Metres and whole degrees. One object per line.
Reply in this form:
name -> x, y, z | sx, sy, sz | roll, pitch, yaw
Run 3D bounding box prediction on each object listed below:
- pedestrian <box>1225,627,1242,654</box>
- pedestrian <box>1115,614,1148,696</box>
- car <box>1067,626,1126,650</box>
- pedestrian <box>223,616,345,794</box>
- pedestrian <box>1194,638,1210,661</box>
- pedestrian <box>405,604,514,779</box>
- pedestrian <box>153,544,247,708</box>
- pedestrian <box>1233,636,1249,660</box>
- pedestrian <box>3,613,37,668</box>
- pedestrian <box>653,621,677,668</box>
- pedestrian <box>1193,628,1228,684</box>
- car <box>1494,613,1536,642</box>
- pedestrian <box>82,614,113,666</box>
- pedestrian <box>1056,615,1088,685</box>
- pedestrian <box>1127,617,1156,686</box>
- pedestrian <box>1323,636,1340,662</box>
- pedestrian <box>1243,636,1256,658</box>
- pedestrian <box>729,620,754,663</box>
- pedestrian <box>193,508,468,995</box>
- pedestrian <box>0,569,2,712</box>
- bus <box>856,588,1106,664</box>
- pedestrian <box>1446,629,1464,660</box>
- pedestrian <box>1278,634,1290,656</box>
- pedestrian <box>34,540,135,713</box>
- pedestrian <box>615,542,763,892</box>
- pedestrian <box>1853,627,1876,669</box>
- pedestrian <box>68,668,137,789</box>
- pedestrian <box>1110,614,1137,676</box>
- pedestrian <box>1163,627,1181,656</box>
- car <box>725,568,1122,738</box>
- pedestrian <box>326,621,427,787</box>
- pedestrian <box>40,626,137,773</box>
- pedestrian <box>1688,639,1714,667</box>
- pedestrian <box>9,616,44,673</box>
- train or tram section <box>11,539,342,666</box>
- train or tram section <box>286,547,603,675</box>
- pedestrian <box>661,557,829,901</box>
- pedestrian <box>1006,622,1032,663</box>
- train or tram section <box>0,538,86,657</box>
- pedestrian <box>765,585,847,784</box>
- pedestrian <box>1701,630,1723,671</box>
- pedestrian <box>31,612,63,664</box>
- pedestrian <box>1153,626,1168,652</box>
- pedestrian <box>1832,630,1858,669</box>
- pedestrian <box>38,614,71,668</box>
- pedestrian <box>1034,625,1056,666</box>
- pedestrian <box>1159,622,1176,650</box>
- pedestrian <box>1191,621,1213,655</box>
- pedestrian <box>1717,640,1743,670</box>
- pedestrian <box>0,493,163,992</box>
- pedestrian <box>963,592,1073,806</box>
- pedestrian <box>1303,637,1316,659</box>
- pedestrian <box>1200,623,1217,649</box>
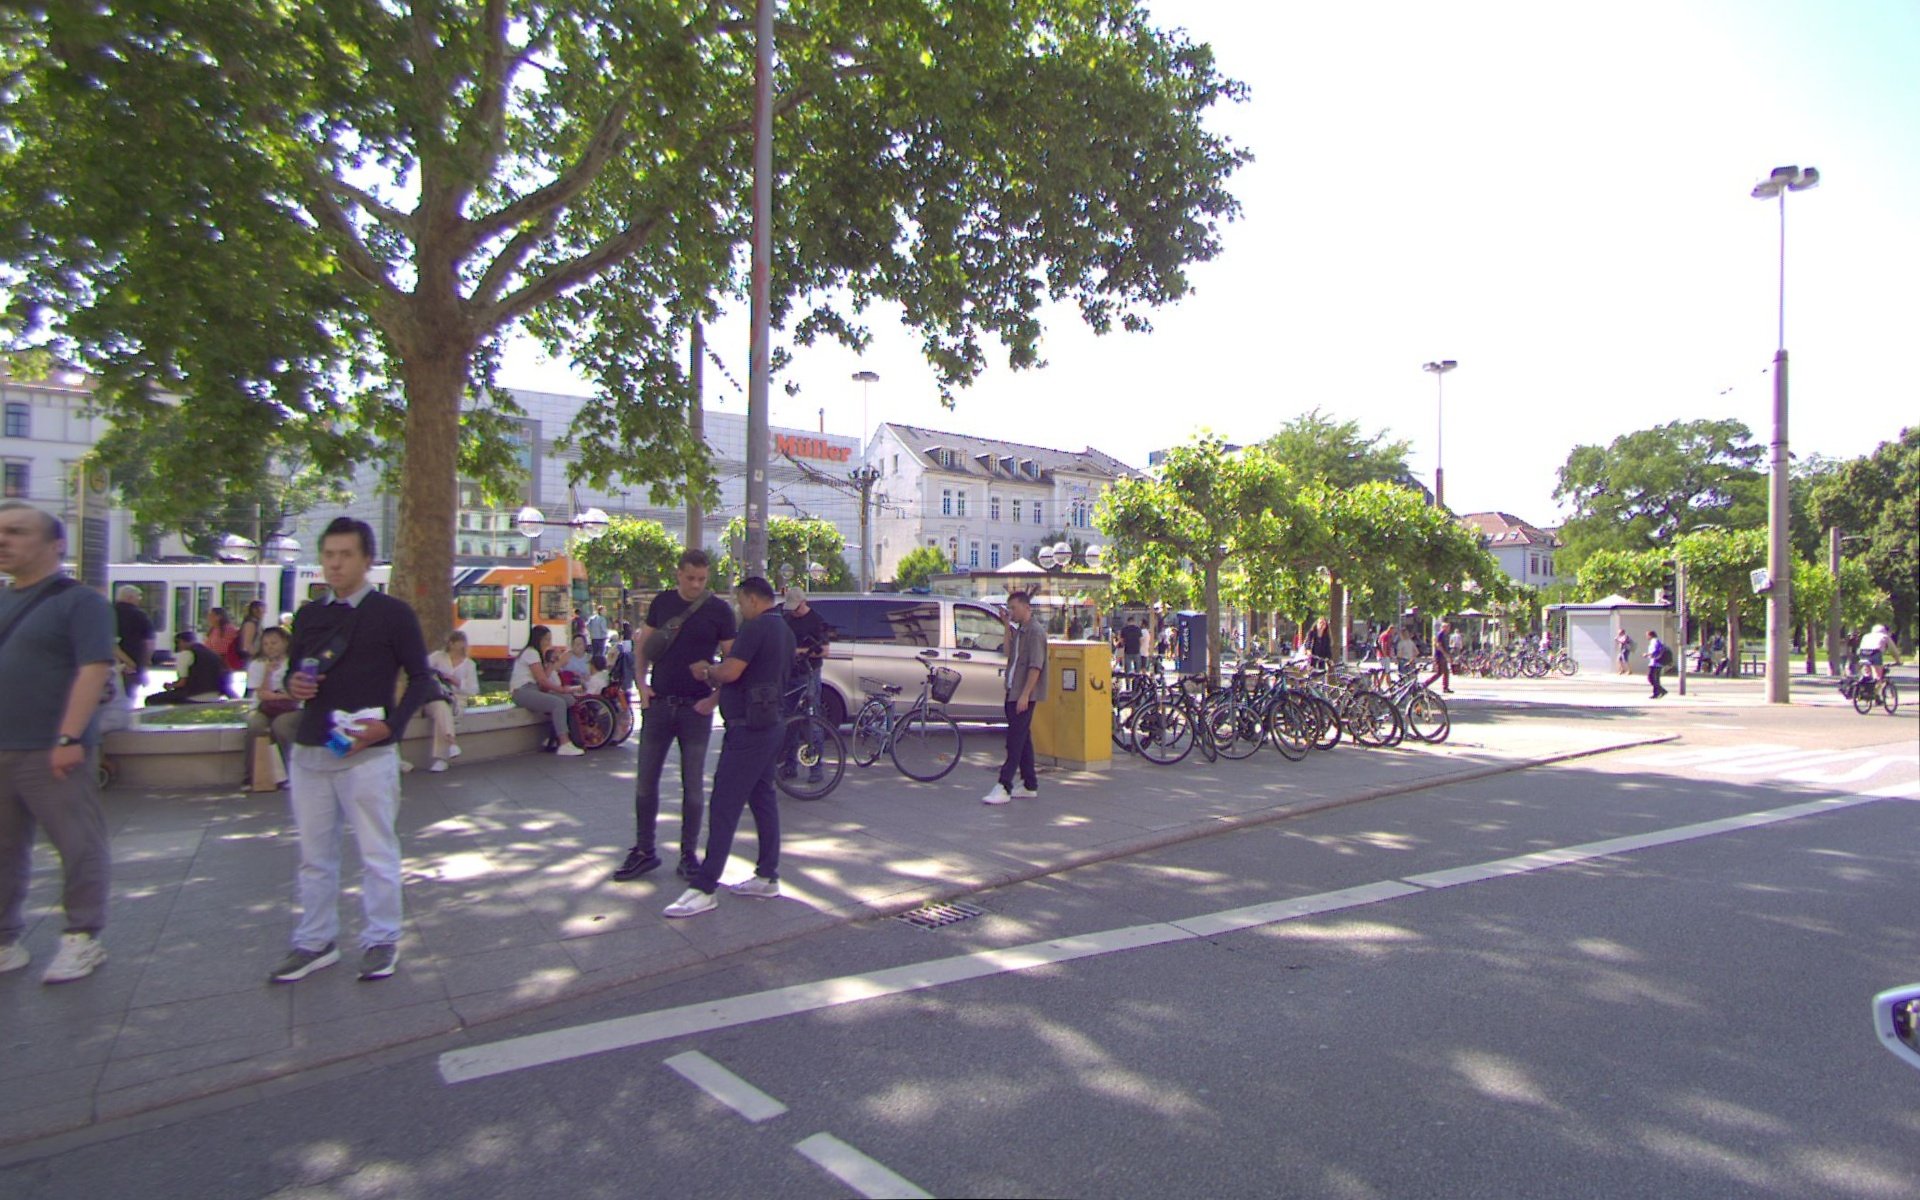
pedestrian -> 15.665, 2.317, 57.555 | 0.672, 1.484, 0.621 | 0, -3, -27
pedestrian -> 3.926, 1.255, 22.987 | 0.612, 1.817, 0.681 | -2, -3, 17
car -> 9.373, 2.615, 68.820 | 3.964, 1.528, 1.742 | 1, 0, -38
pedestrian -> -5.864, 0.867, 8.712 | 0.777, 1.426, 0.743 | 1, 1, -41
pedestrian -> 13.428, 2.747, 55.679 | 0.573, 1.279, 0.620 | 0, -3, -22
pedestrian -> -4.943, 0.862, 9.913 | 0.777, 1.618, 0.743 | 1, 1, -41
pedestrian -> -8.638, 0.282, 11.414 | 0.777, 1.770, 0.743 | 1, 1, -41
pedestrian -> 15.551, 2.652, 55.603 | 0.573, 1.279, 0.620 | 0, -3, -22
pedestrian -> -26.566, 1.137, 28.393 | 0.549, 1.492, 0.751 | 1, 1, -31
pedestrian -> -10.156, 1.539, 34.562 | 0.667, 1.569, 0.578 | -1, -3, -5
pedestrian -> 7.056, 1.587, 28.327 | 0.673, 1.544, 0.620 | 0, -3, -31
car -> 67.909, 3.351, 122.975 | 5.361, 3.360, 2.114 | 1, 1, -32
pedestrian -> -25.385, 1.163, 29.573 | 0.549, 1.492, 0.751 | 1, 1, -31
pedestrian -> 2.992, 1.335, 26.817 | 0.599, 1.839, 0.573 | 0, -3, -32
pedestrian -> 4.644, 1.305, 25.668 | 0.503, 1.741, 0.479 | 0, -3, -31
pedestrian -> 22.062, 2.921, 59.637 | 0.671, 1.484, 0.621 | 3, -2, -26
pedestrian -> 16.789, 2.728, 58.324 | 0.447, 1.279, 0.515 | 0, -3, -27
pedestrian -> -8.023, 1.530, 36.889 | 0.569, 1.569, 0.678 | -3, -3, 35
pedestrian -> -2.508, 0.567, 4.052 | 0.728, 1.807, 0.538 | 2, 1, 3
pedestrian -> -8.004, 0.633, 7.601 | 0.768, 1.770, 0.751 | 2, 1, -5
bus -> 1.040, 1.327, 50.933 | 12.244, 3.465, 3.059 | 2, 0, -13
pedestrian -> 24.275, 2.189, 49.266 | 0.667, 1.484, 0.625 | -2, -3, 22
pedestrian -> 19.056, 2.636, 59.110 | 0.445, 1.279, 0.517 | -1, -3, -15
pedestrian -> -9.423, 0.271, 10.831 | 0.777, 1.770, 0.743 | 1, 1, -41
pedestrian -> -1.548, 0.625, 5.702 | 0.706, 1.860, 0.515 | 1, 1, -24
pedestrian -> 37.829, 2.007, 42.024 | 0.517, 1.756, 0.587 | -3, -3, 29
pedestrian -> -7.262, 1.078, 8.512 | 0.276, 0.980, 0.340 | 2, 1, -1
pedestrian -> 5.449, 1.504, 33.518 | 0.560, 2.034, 0.685 | 2, -1, -40
pedestrian -> 11.127, 2.186, 52.746 | 0.673, 1.484, 0.619 | 0, -3, -34
car -> -0.542, 0.691, 13.599 | 4.976, 2.040, 1.996 | 2, 0, -10
pedestrian -> -5.478, 0.936, 9.418 | 0.669, 1.443, 0.743 | 1, 1, -41
pedestrian -> -8.030, 0.887, 9.254 | 0.663, 1.258, 0.611 | 2, 1, 45
pedestrian -> 32.758, 2.339, 44.402 | 0.746, 1.186, 0.670 | 1, -3, -38
pedestrian -> -25.485, 1.200, 27.426 | 0.549, 1.492, 0.751 | 1, 1, -31
train or tram section -> -26.493, 0.062, 34.211 | 9.329, 3.878, 2.622 | 2, 1, 2
train or tram section -> -17.208, 0.347, 33.846 | 9.329, 3.878, 2.622 | 2, 1, 2
pedestrian -> -1.090, 0.637, 5.218 | 0.738, 1.670, 0.631 | 2, 1, -5
pedestrian -> 2.145, 1.559, 36.729 | 0.671, 1.484, 0.621 | -4, -4, 43
train or tram section -> -35.791, -0.223, 34.518 | 9.329, 3.878, 2.622 | 2, 1, 2
pedestrian -> -1.435, 0.758, 9.339 | 0.516, 1.766, 0.509 | 1, 1, -44
pedestrian -> 31.019, 2.082, 41.434 | 0.566, 1.630, 0.602 | -3, -3, 30
pedestrian -> -26.956, 1.119, 29.656 | 0.549, 1.492, 0.751 | 1, 1, -31
pedestrian -> 11.650, 2.279, 58.290 | 0.621, 1.484, 0.577 | 1, -4, -44
pedestrian -> 37.530, 2.102, 42.595 | 0.617, 1.630, 0.524 | 0, -3, -22
pedestrian -> -25.813, 1.159, 28.651 | 0.549, 1.492, 0.751 | 1, 1, -31
pedestrian -> 3.111, 1.665, 36.669 | 0.518, 1.484, 0.586 | -3, -3, 39
pedestrian -> 11.407, 1.973, 55.245 | 0.674, 1.484, 0.618 | 1, -3, -38
pedestrian -> 10.686, 1.670, 44.388 | 0.616, 1.484, 0.676 | 0, -3, -25
pedestrian -> 33.086, 2.363, 43.133 | 0.746, 1.263, 0.670 | 1, -3, -38
pedestrian -> -3.736, 0.540, 4.043 | 0.730, 1.870, 0.590 | 1, -2, -33
pedestrian -> 0.493, 0.802, 8.534 | 0.638, 1.714, 0.635 | 1, 1, -44
pedestrian -> 20.704, 2.871, 59.494 | 0.445, 1.279, 0.517 | -1, -3, -15
pedestrian -> 14.189, 2.043, 57.273 | 0.672, 1.484, 0.621 | 0, -3, -27
